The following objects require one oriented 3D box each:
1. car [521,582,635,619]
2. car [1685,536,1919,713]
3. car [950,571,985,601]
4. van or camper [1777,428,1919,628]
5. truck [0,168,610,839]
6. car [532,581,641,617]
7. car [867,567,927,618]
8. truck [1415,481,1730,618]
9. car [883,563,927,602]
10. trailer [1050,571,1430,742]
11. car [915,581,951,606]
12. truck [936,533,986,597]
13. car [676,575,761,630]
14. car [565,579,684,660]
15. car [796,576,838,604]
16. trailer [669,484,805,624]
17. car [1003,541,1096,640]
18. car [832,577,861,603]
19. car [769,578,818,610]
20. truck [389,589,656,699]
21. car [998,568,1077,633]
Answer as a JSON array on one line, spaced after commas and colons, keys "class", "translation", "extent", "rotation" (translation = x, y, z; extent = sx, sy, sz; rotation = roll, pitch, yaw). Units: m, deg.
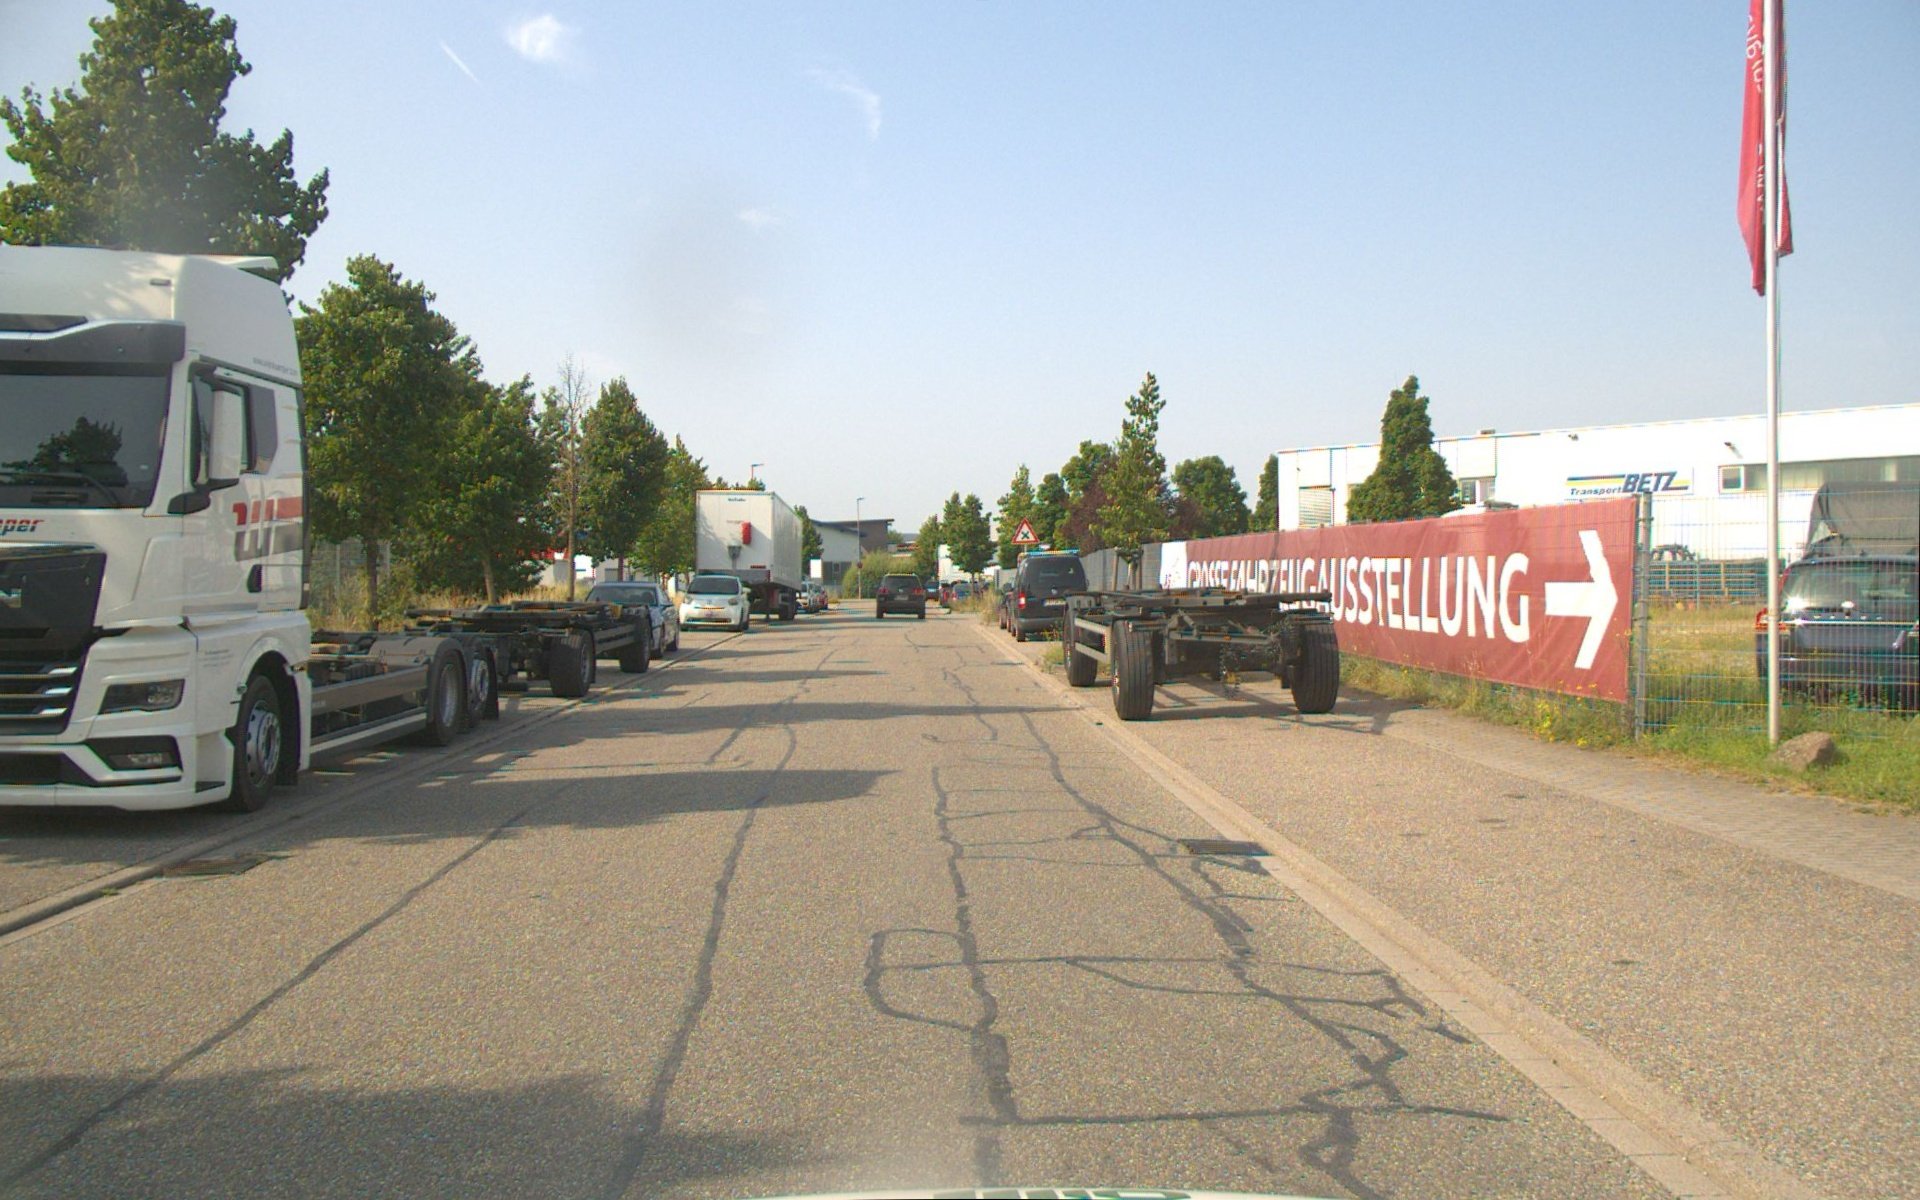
[{"class": "car", "translation": [-14.633, 0.013, 63.430], "extent": [3.903, 1.363, 1.618], "rotation": [-1, 1, 5]}, {"class": "car", "translation": [9.208, 0.154, 16.042], "extent": [3.948, 1.502, 2.149], "rotation": [-2, 1, -32]}, {"class": "car", "translation": [0.390, -0.784, 89.126], "extent": [1.781, 1.474, 3.801], "rotation": [-2, 1, 0]}, {"class": "van or camper", "translation": [16.904, -1.241, 29.042], "extent": [2.626, 3.137, 6.747], "rotation": [1, 2, 45]}, {"class": "truck", "translation": [-6.044, -0.656, 16.299], "extent": [2.572, 3.997, 12.917], "rotation": [0, 1, -1]}, {"class": "car", "translation": [-14.883, -0.053, 66.031], "extent": [3.903, 1.363, 1.618], "rotation": [-1, 1, 5]}, {"class": "car", "translation": [-2.455, -0.328, 63.630], "extent": [1.955, 1.836, 3.995], "rotation": [-1, 1, -7]}, {"class": "truck", "translation": [19.298, -1.534, 52.640], "extent": [9.146, 4.041, 2.445], "rotation": [0, 1, 42]}, {"class": "car", "translation": [-2.709, -0.886, 82.156], "extent": [1.952, 1.836, 4.001], "rotation": [-1, 1, 1]}, {"class": "trailer", "translation": [2.808, 0.438, 19.745], "extent": [2.570, 1.412, 9.451], "rotation": [-3, 1, -2]}, {"class": "car", "translation": [-1.918, -0.495, 120.593], "extent": [1.951, 1.803, 4.004], "rotation": [-1, 1, 9]}, {"class": "truck", "translation": [0.047, -2.099, 99.843], "extent": [2.828, 3.648, 8.062], "rotation": [-2, 1, 0]}, {"class": "car", "translation": [-6.650, 0.037, 45.855], "extent": [1.773, 1.452, 4.000], "rotation": [-1, 1, -1]}, {"class": "car", "translation": [-6.530, 0.335, 32.568], "extent": [1.848, 1.461, 3.996], "rotation": [-1, 1, -5]}, {"class": "car", "translation": [-8.395, -0.603, 97.426], "extent": [1.952, 1.549, 4.001], "rotation": [-1, 1, 2]}, {"class": "trailer", "translation": [-7.781, -1.571, 59.924], "extent": [3.335, 4.416, 13.916], "rotation": [-1, 1, -1]}, {"class": "car", "translation": [1.985, -0.261, 37.678], "extent": [1.781, 2.012, 4.000], "rotation": [-4, 1, 0]}, {"class": "car", "translation": [-7.966, -0.730, 116.322], "extent": [1.953, 1.803, 3.998], "rotation": [-1, 1, -2]}, {"class": "car", "translation": [-8.539, -0.333, 85.026], "extent": [1.952, 1.549, 4.001], "rotation": [-1, 1, 2]}, {"class": "truck", "translation": [-6.247, 0.548, 24.622], "extent": [2.473, 1.287, 6.524], "rotation": [-1, 1, -2]}, {"class": "car", "translation": [1.977, -0.028, 43.210], "extent": [1.781, 1.474, 3.801], "rotation": [-4, 1, 0]}]
